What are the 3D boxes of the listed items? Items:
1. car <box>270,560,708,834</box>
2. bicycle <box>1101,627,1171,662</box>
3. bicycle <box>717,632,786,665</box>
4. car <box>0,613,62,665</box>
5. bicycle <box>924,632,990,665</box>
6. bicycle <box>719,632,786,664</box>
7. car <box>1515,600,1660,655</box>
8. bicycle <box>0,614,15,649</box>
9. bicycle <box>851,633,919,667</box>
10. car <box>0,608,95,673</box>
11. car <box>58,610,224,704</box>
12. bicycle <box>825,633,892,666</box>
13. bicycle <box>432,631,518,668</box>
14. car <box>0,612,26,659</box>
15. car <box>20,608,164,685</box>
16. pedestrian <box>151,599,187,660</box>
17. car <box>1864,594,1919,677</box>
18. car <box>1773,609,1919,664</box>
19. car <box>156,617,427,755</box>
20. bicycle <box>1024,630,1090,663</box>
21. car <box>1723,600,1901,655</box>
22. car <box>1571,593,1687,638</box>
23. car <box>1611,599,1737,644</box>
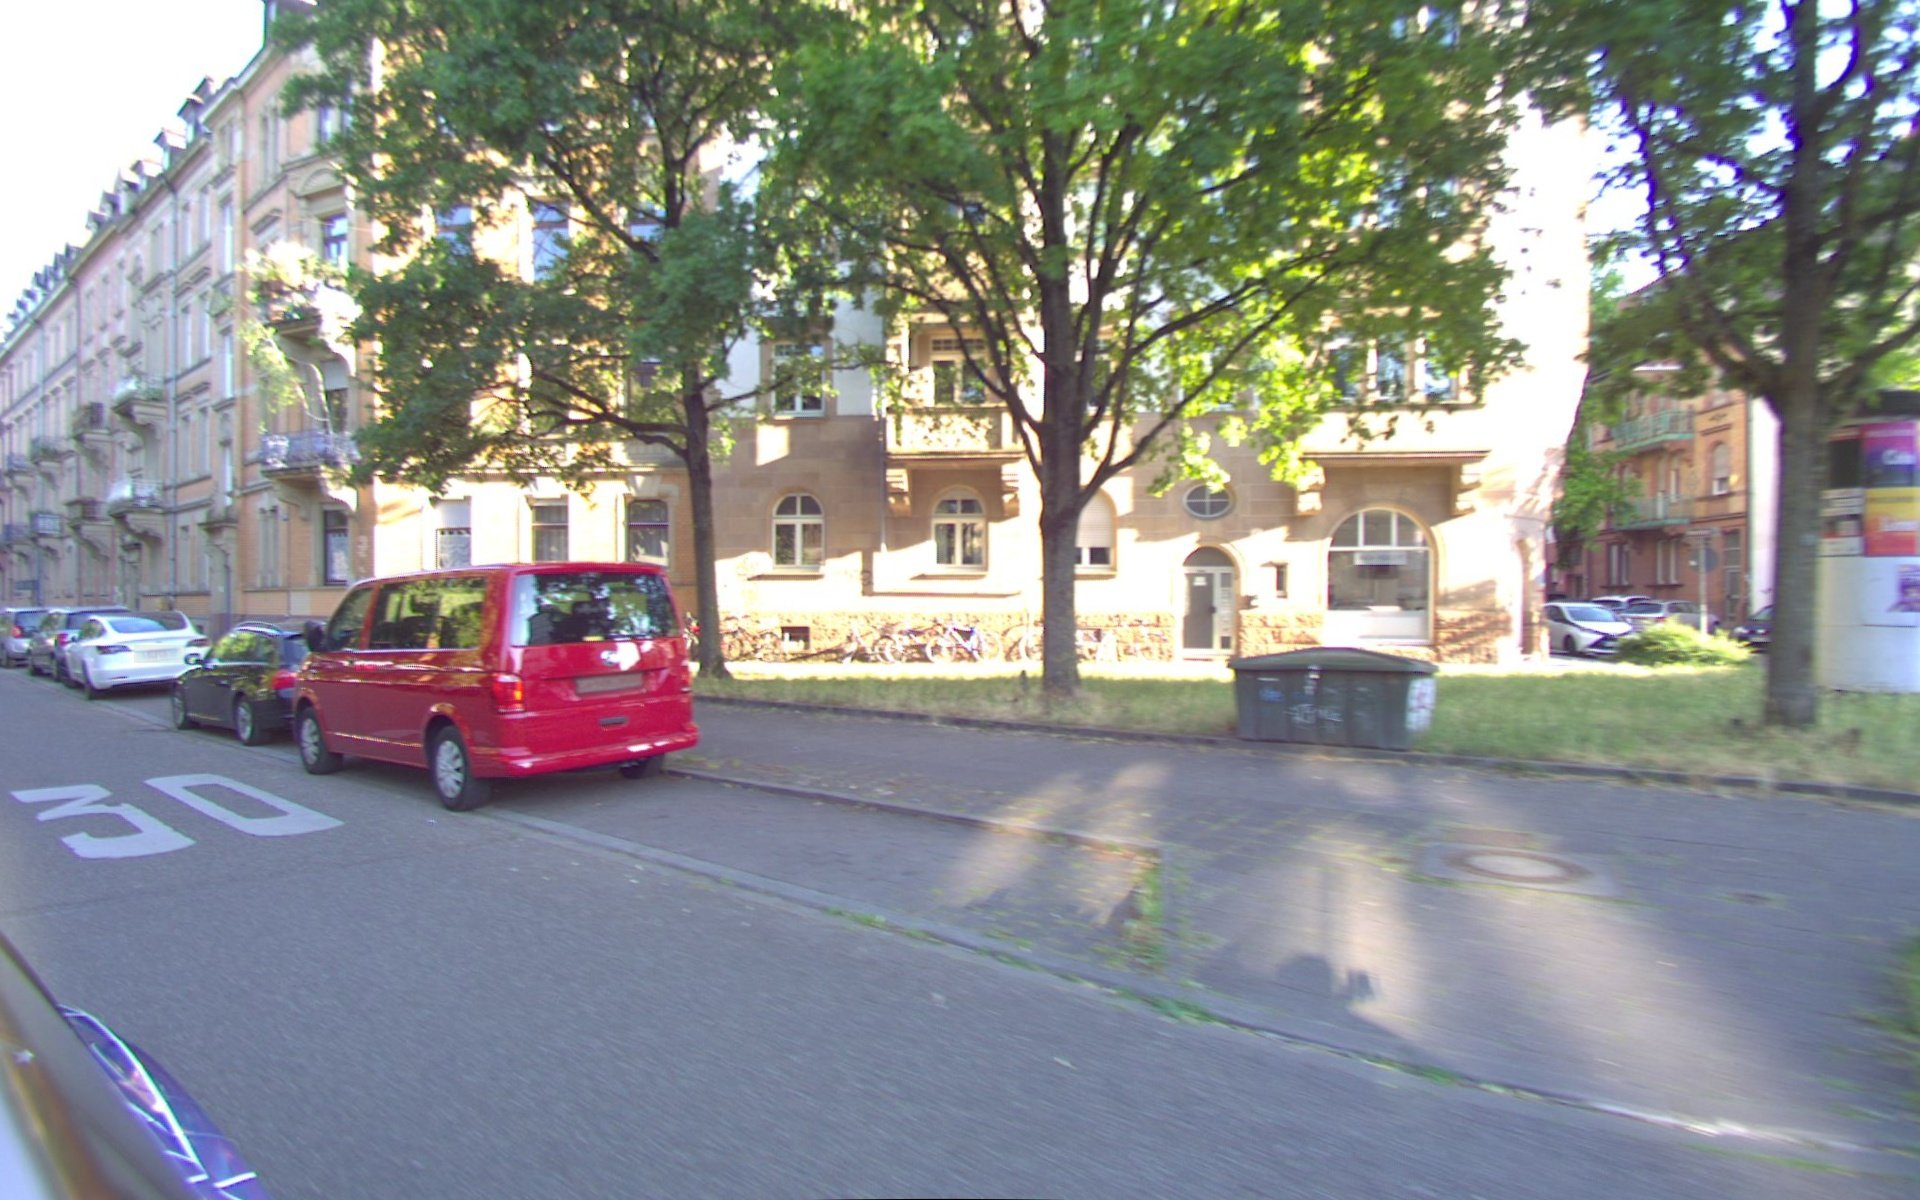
[{"bbox_3d":[-4.542,0.695,9.386,4.767,1.948,1.759,-1,1,39],"label":"car"},{"bbox_3d":[3.925,0.997,22.672,1.491,0.738,0.368,-2,-1,5],"label":"bicycle"},{"bbox_3d":[-4.759,1.107,23.118,1.491,0.738,0.414,0,-1,5],"label":"bicycle"},{"bbox_3d":[-27.607,1.101,29.396,4.288,1.394,1.745,-1,1,42],"label":"car"},{"bbox_3d":[-0.062,1.095,22.936,1.491,0.738,0.368,0,-1,5],"label":"bicycle"},{"bbox_3d":[-4.826,1.107,23.535,1.491,0.738,0.368,0,-1,5],"label":"bicycle"},{"bbox_3d":[17.126,0.731,27.878,1.851,1.410,3.991,0,-1,7],"label":"car"},{"bbox_3d":[-42.699,1.348,43.476,0.817,1.496,3.004,-1,-2,40],"label":"bicycle"},{"bbox_3d":[-1.683,1.123,22.698,1.491,0.738,0.368,0,-1,5],"label":"bicycle"},{"bbox_3d":[-23.645,0.995,25.953,3.707,1.486,1.666,-1,1,41],"label":"car"},{"bbox_3d":[-15.195,0.967,18.697,4.270,1.486,1.757,-1,1,43],"label":"car"},{"bbox_3d":[-2.322,1.130,23.144,1.491,0.738,0.368,0,-1,5],"label":"bicycle"},{"bbox_3d":[-11.622,1.191,24.270,1.875,0.854,0.525,-1,-1,5],"label":"bicycle"},{"bbox_3d":[-31.565,1.140,32.543,3.885,1.449,1.745,-1,1,40],"label":"car"},{"bbox_3d":[-18.942,0.949,22.044,3.877,1.486,1.667,-1,1,39],"label":"car"},{"bbox_3d":[-23.118,0.861,29.580,0.722,1.731,0.666,-1,1,41],"label":"pedestrian"},{"bbox_3d":[19.987,0.701,19.737,1.928,1.660,4.503,0,-1,20],"label":"car"},{"bbox_3d":[24.258,0.948,27.007,3.935,1.410,1.878,0,-1,-11],"label":"car"},{"bbox_3d":[-8.791,0.982,13.170,4.267,1.444,1.758,-1,1,40],"label":"car"},{"bbox_3d":[2.196,1.048,22.947,1.491,0.738,0.368,0,-1,5],"label":"bicycle"},{"bbox_3d":[25.322,0.801,30.134,3.936,1.580,1.877,0,-1,-8],"label":"car"},{"bbox_3d":[26.006,0.595,39.325,3.930,1.648,1.880,0,-1,-23],"label":"car"},{"bbox_3d":[25.521,0.750,36.167,3.930,1.516,1.880,0,-1,-23],"label":"car"}]
